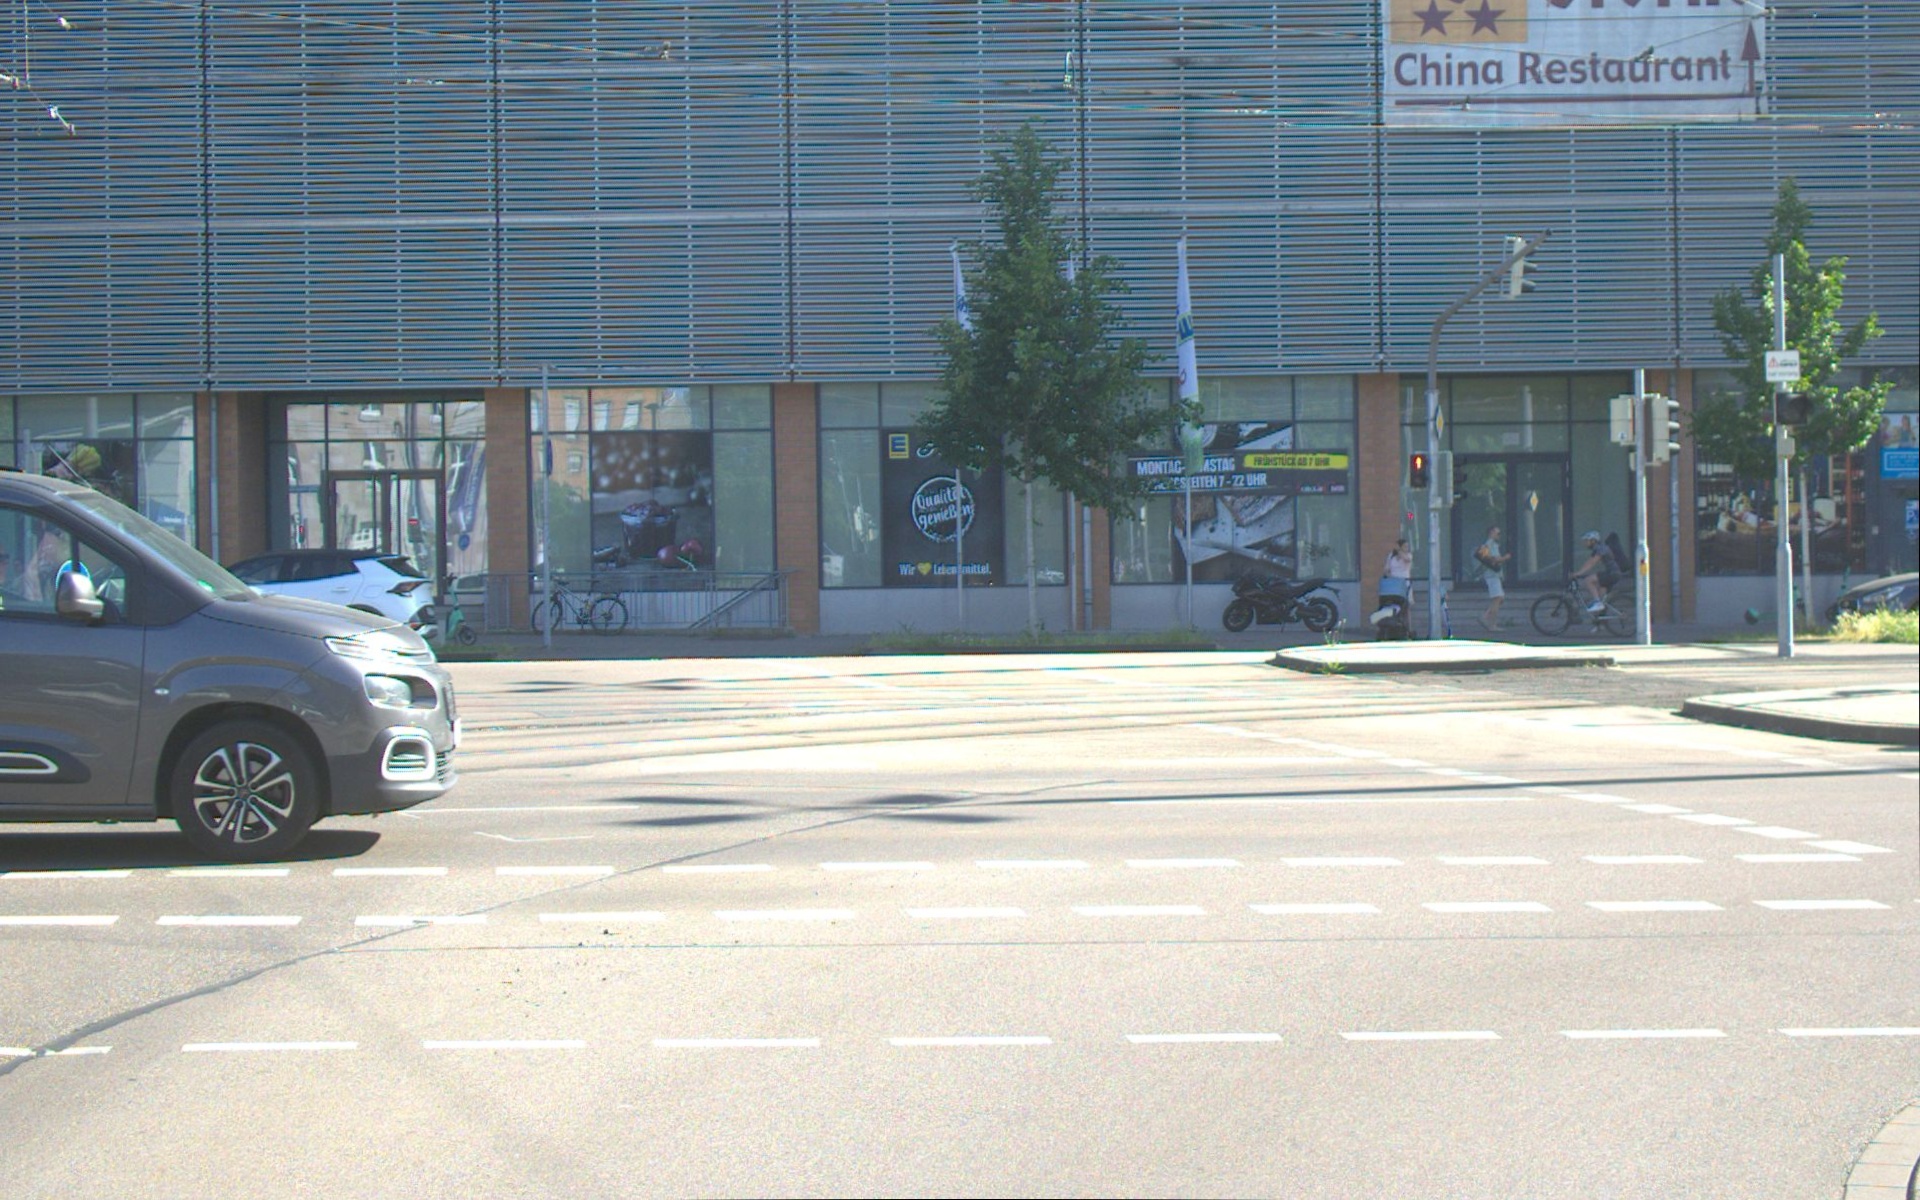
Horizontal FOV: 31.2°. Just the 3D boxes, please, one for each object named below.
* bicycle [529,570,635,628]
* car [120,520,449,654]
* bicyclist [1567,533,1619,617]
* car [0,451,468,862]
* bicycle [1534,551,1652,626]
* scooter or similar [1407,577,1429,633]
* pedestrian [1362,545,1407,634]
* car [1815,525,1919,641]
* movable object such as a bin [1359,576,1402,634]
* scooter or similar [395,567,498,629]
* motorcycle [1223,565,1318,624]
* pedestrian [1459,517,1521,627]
[{"bbox_3d":[-6.659,-0.015,60.539,1.815,0.986,0.558,-1,2,-10],"label":"bicycle"},{"bbox_3d":[-9.565,-0.190,48.900,4.326,1.856,1.841,0,0,-1],"label":"car"},{"bbox_3d":[10.637,-0.424,57.767,0.753,1.382,0.565,-1,2,-1],"label":"bicyclist"},{"bbox_3d":[-4.548,0.237,15.813,4.457,1.785,1.709,0,1,-6],"label":"car"},{"bbox_3d":[10.632,-0.192,57.773,1.857,1.213,0.569,-1,2,-1],"label":"bicycle"},{"bbox_3d":[7.341,0.076,55.089,0.295,0.870,1.003,1,0,10],"label":"scooter or similar"},{"bbox_3d":[6.821,-0.176,55.266,0.655,1.409,0.849,1,0,10],"label":"pedestrian"},{"bbox_3d":[13.745,-0.143,45.845,4.146,1.464,1.841,3,0,-1],"label":"car"},{"bbox_3d":[6.703,0.080,54.805,0.613,0.901,0.968,1,0,10],"label":"movable object such as a bin"},{"bbox_3d":[-9.089,-0.045,60.921,1.792,1.062,0.613,0,2,-8],"label":"scooter or similar"},{"bbox_3d":[5.484,-0.101,60.633,1.640,1.001,0.446,1,1,6],"label":"motorcycle"},{"bbox_3d":[9.163,-0.476,59.464,0.950,1.822,0.845,-2,-3,5],"label":"pedestrian"}]
